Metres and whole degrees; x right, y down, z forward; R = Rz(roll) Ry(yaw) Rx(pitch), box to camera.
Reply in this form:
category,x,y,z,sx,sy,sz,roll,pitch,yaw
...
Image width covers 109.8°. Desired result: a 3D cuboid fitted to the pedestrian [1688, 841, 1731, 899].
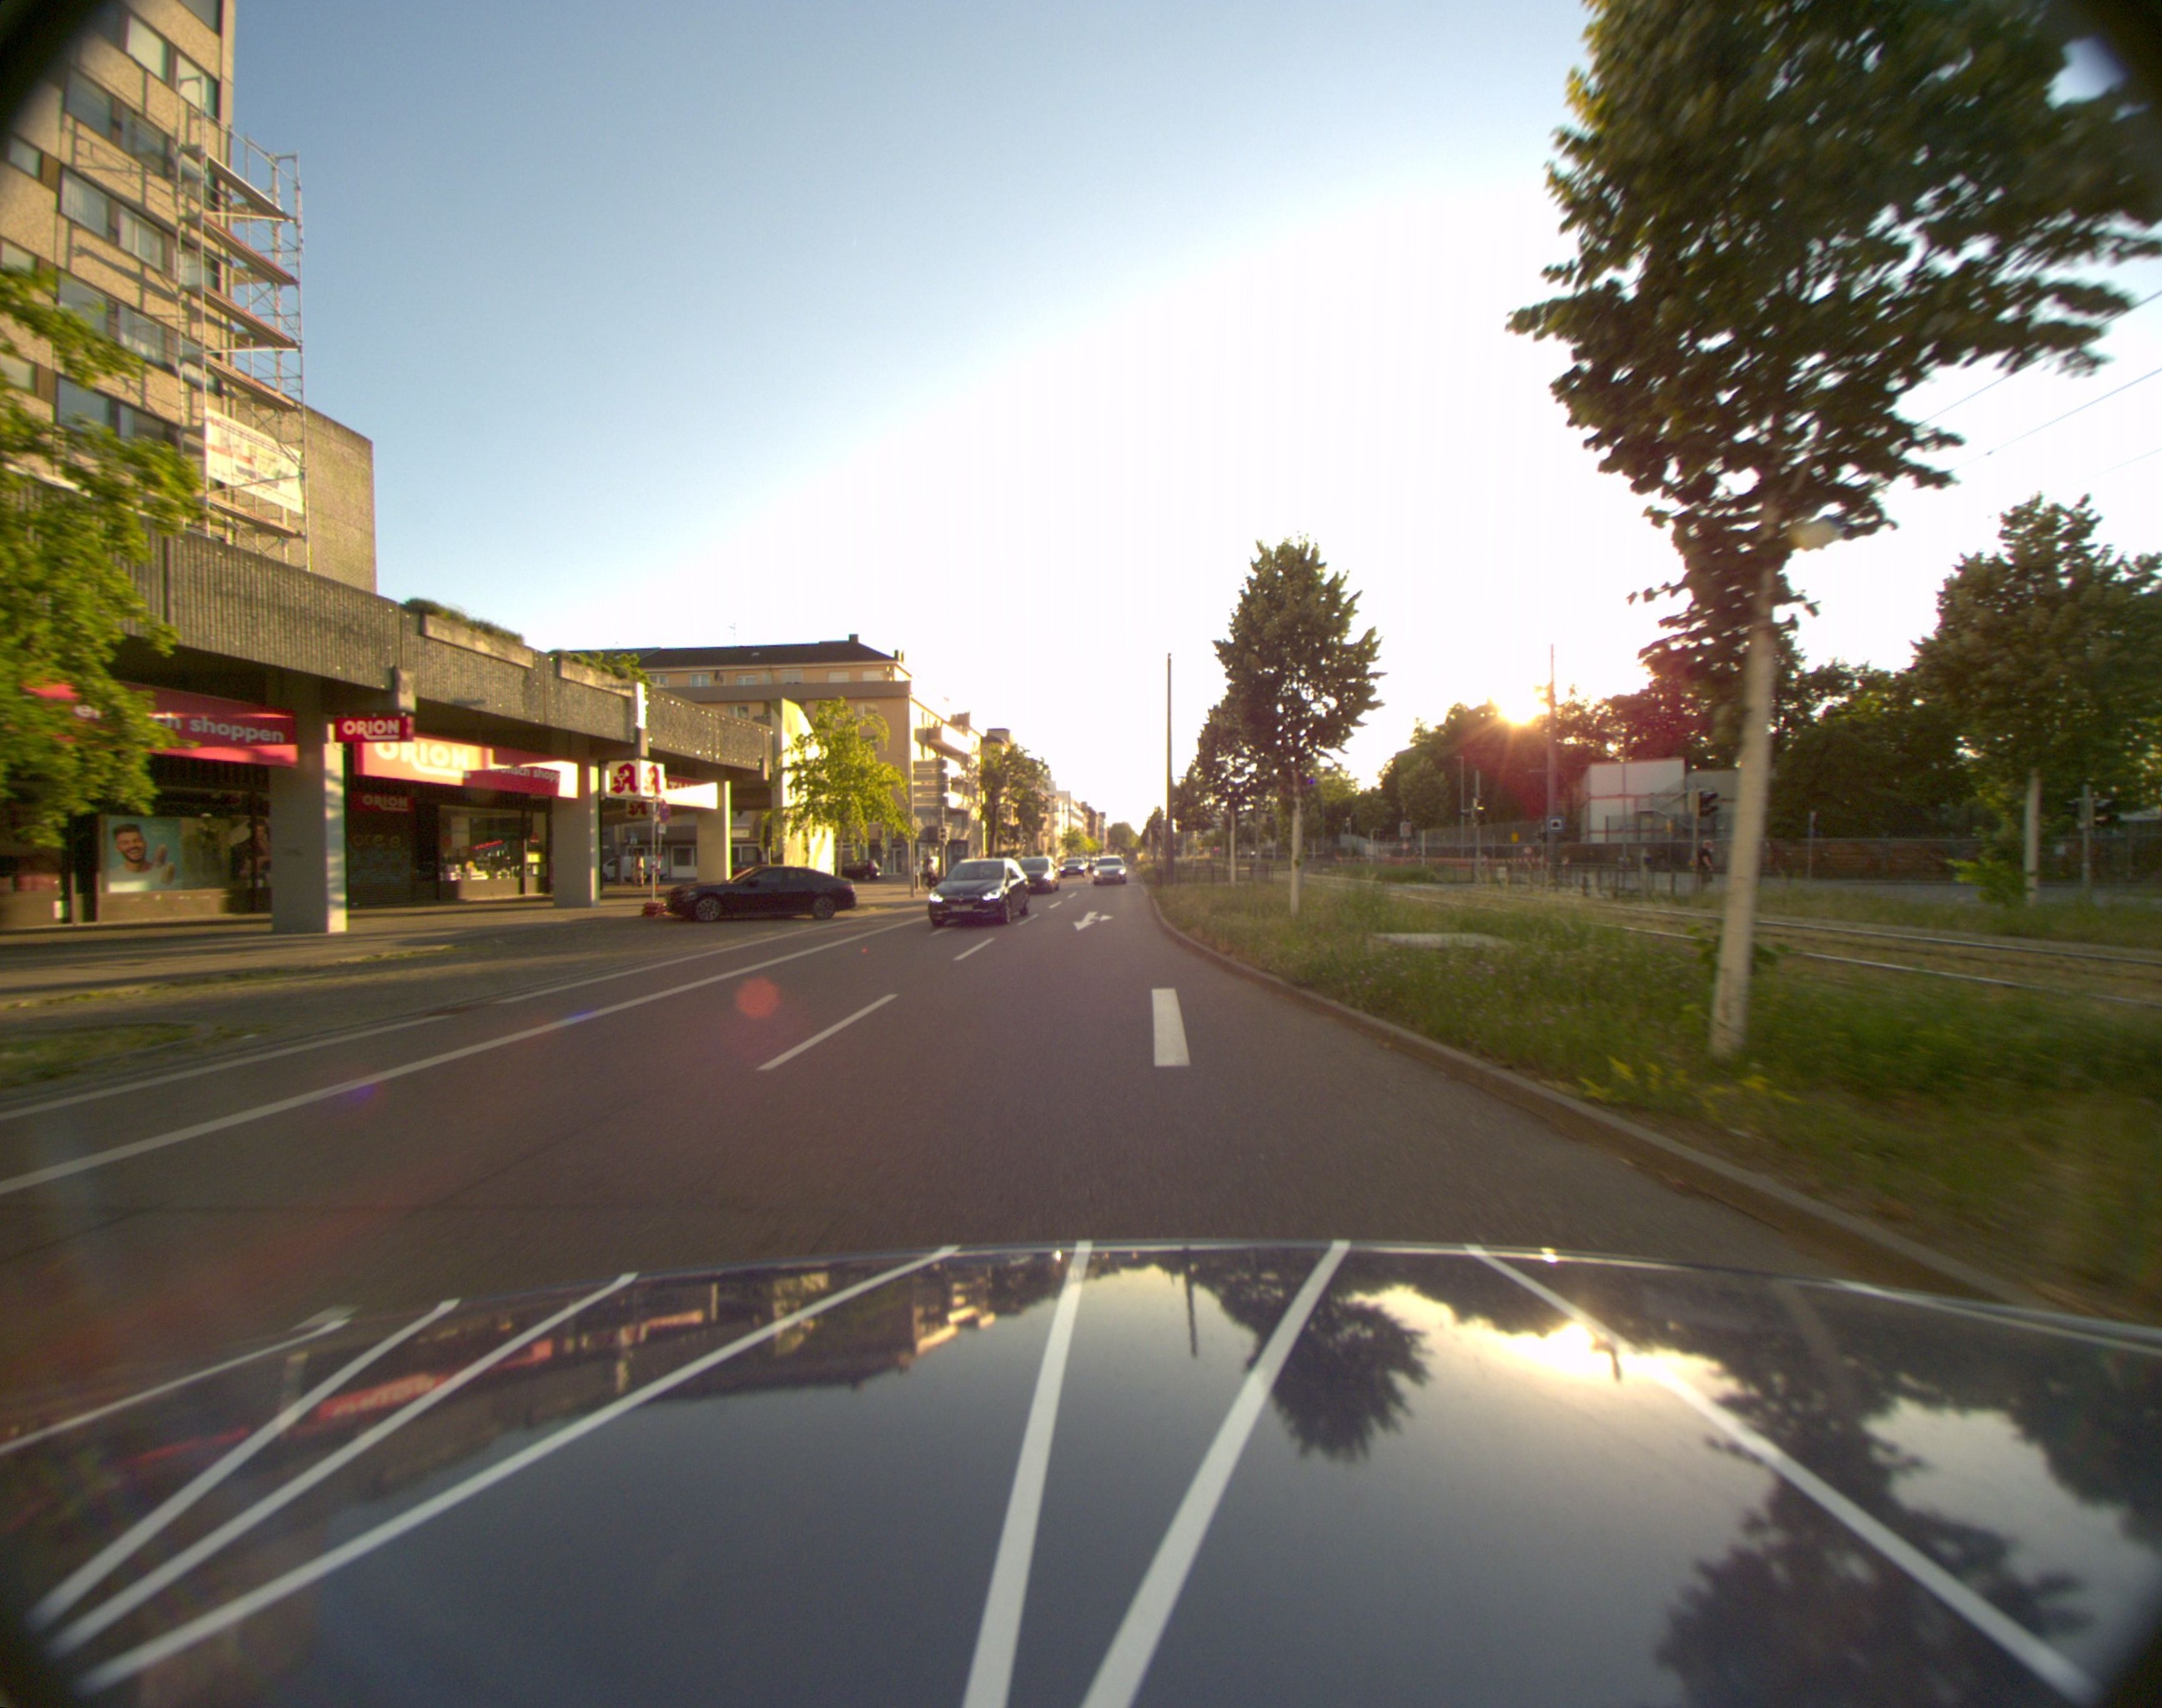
category,x,y,z,sx,sy,sz,roll,pitch,yaw
pedestrian,17.935,0.466,21.704,0.670,1.597,0.679,-3,-4,21

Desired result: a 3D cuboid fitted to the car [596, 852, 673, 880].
category,x,y,z,sx,sy,sz,roll,pitch,yaw
car,-33.548,0.894,57.157,4.535,1.855,1.999,-1,4,3

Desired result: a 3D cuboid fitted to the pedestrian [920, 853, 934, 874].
category,x,y,z,sx,sy,sz,roll,pitch,yaw
pedestrian,-11.851,0.743,58.634,0.821,1.606,0.767,-1,2,6

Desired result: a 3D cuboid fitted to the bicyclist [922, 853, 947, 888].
category,x,y,z,sx,sy,sz,roll,pitch,yaw
bicyclist,-7.067,0.790,36.714,0.821,1.682,0.958,0,1,-41

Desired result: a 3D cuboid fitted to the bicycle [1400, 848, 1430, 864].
category,x,y,z,sx,sy,sz,roll,pitch,yaw
bicycle,24.375,0.147,55.431,1.893,1.126,0.718,-3,0,31

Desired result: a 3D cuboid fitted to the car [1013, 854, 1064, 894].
category,x,y,z,sx,sy,sz,roll,pitch,yaw
car,-1.824,0.837,33.932,1.827,1.589,4.367,-2,0,2

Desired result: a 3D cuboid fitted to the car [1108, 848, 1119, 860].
category,x,y,z,sx,sy,sz,roll,pitch,yaw
car,5.449,0.022,127.560,1.726,1.909,4.294,-3,0,1

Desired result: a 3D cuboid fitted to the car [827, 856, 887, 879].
category,x,y,z,sx,sy,sz,roll,pitch,yaw
car,-16.507,0.997,56.055,3.811,1.552,1.615,0,4,5

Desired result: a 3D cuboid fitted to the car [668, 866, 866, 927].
category,x,y,z,sx,sy,sz,roll,pitch,yaw
car,-8.387,1.068,20.490,4.616,1.445,1.809,1,0,-36

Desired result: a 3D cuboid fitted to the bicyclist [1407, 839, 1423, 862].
category,x,y,z,sx,sy,sz,roll,pitch,yaw
bicyclist,24.356,-0.252,55.428,0.942,1.611,0.718,-3,0,31

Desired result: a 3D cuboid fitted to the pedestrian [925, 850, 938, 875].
category,x,y,z,sx,sy,sz,roll,pitch,yaw
pedestrian,-11.370,0.639,57.892,0.839,1.849,0.544,-1,2,5

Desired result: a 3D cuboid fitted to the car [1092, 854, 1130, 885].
category,x,y,z,sx,sy,sz,roll,pitch,yaw
car,1.665,0.800,41.045,1.832,1.455,4.304,-3,0,4

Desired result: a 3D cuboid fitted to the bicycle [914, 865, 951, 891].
category,x,y,z,sx,sy,sz,roll,pitch,yaw
bicycle,-7.231,1.142,36.900,0.821,1.166,2.142,0,1,-41

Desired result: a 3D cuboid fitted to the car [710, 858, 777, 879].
category,x,y,z,sx,sy,sz,roll,pitch,yaw
car,-25.163,1.076,56.720,4.225,1.432,1.655,-1,4,0

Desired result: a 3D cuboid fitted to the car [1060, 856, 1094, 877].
category,x,y,z,sx,sy,sz,roll,pitch,yaw
car,-0.245,0.898,55.161,1.914,1.387,4.279,-3,0,6

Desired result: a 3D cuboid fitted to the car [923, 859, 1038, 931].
category,x,y,z,sx,sy,sz,roll,pitch,yaw
car,-2.366,0.927,19.198,1.824,1.510,4.793,-2,0,5

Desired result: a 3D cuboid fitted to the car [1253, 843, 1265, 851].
category,x,y,z,sx,sy,sz,roll,pitch,yaw
car,36.913,-1.412,157.838,1.848,1.551,3.801,-3,0,5
